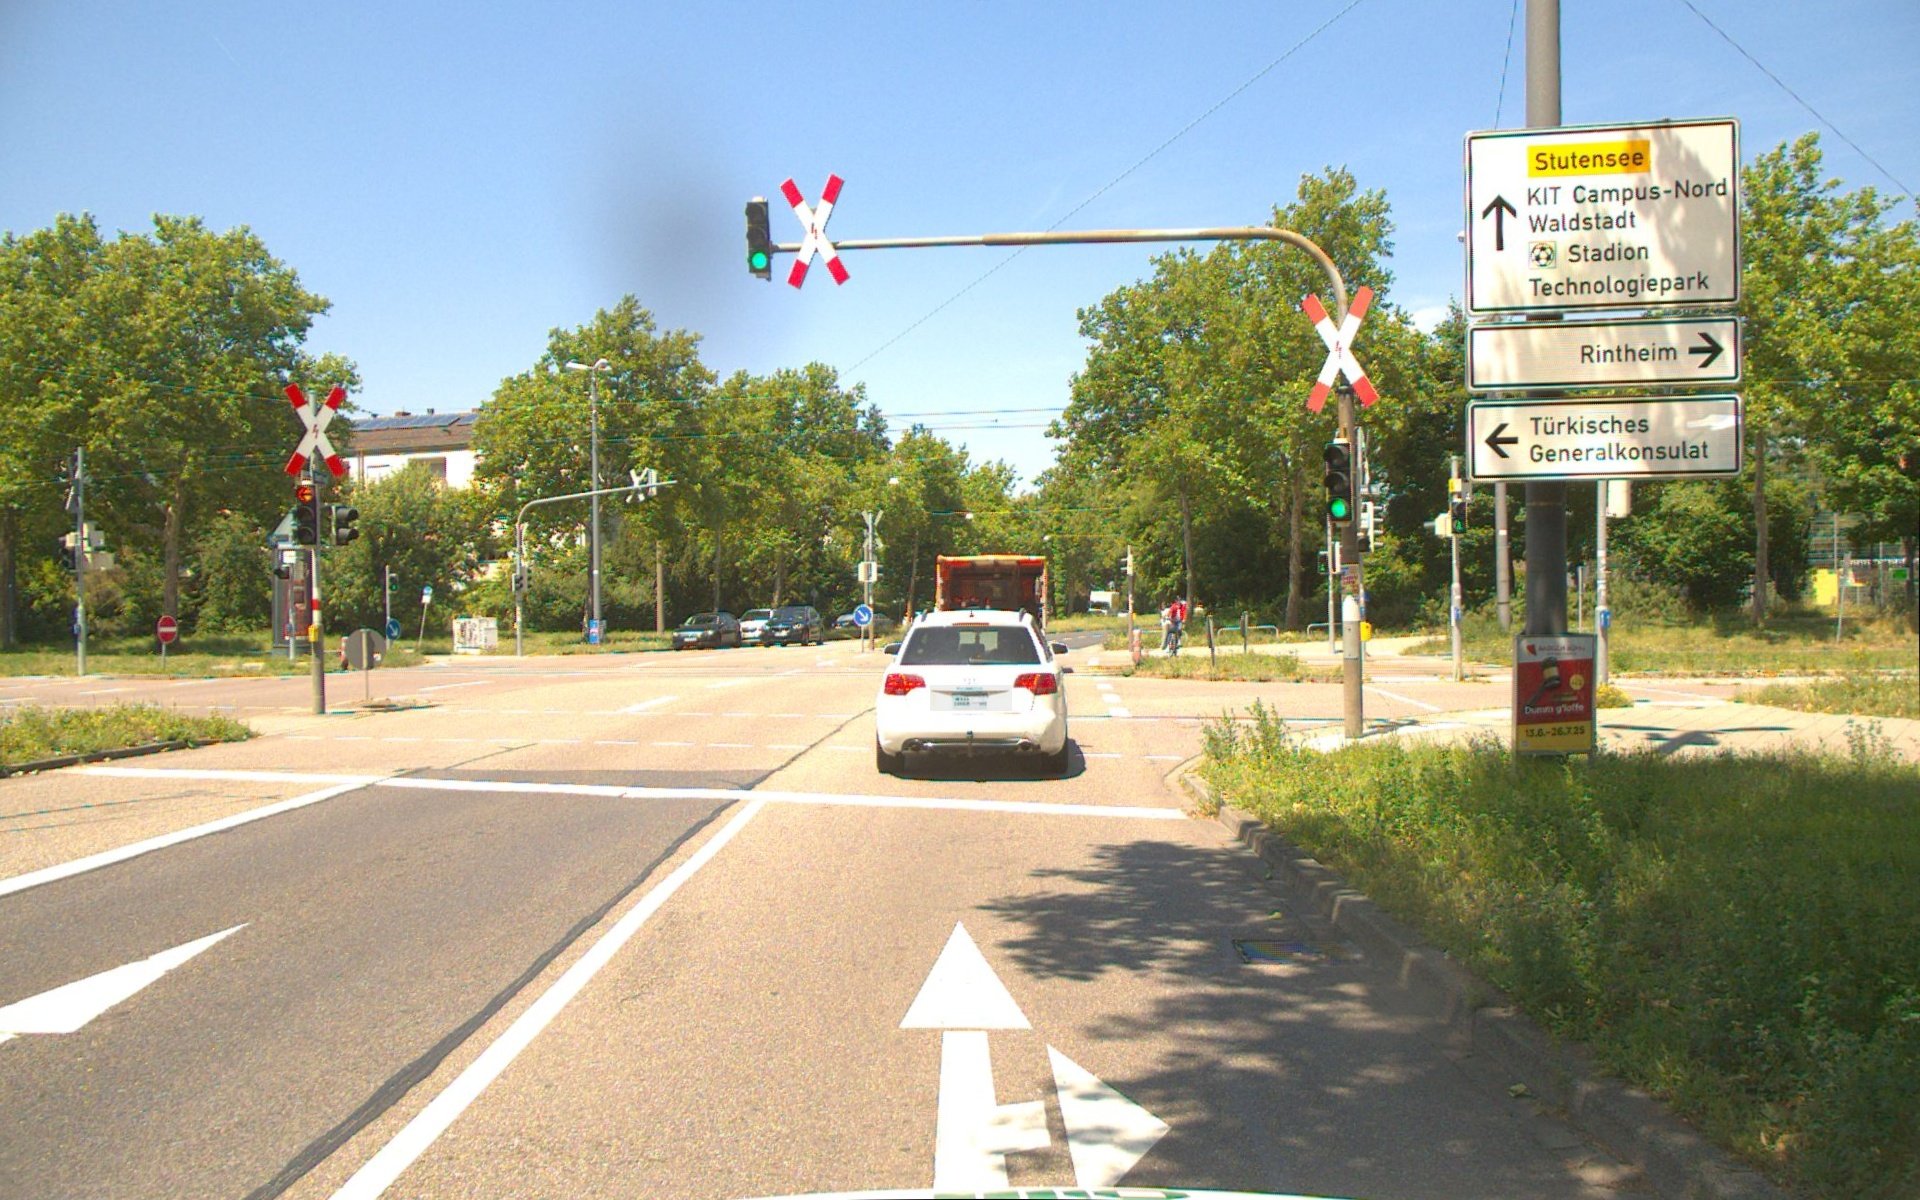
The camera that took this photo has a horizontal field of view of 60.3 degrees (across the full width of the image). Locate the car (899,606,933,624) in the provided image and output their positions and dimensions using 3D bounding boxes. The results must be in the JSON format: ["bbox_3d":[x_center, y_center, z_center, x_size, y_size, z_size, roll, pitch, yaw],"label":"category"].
[{"bbox_3d":[-3.884,1.316,147.470,1.842,1.500,4.002,-1,0,17],"label":"car"}]

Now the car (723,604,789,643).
[{"bbox_3d":[-9.100,1.033,74.053,1.749,1.643,4.408,-1,0,9],"label":"car"}]

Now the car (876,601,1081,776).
[{"bbox_3d":[0.202,0.745,15.789,1.726,1.470,3.616,0,0,1],"label":"car"}]

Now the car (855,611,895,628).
[{"bbox_3d":[-7.064,1.611,137.839,1.843,1.400,4.000,-1,0,21],"label":"car"}]

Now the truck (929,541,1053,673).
[{"bbox_3d":[0.640,0.160,36.854,2.459,2.604,7.603,1,0,0],"label":"truck"}]

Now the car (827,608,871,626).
[{"bbox_3d":[-8.893,1.372,132.567,1.844,1.417,3.998,-1,0,24],"label":"car"}]

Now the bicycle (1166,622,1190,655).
[{"bbox_3d":[6.292,1.103,47.870,0.574,0.911,1.812,-1,0,4],"label":"bicycle"}]

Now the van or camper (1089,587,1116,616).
[{"bbox_3d":[16.924,0.142,196.250,2.604,3.389,5.505,-1,0,12],"label":"van or camper"}]

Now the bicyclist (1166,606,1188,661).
[{"bbox_3d":[6.290,0.969,47.955,0.565,1.583,0.674,-1,0,5],"label":"bicyclist"}]

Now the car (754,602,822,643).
[{"bbox_3d":[-6.936,0.900,67.116,1.868,1.566,4.301,-1,0,6],"label":"car"}]

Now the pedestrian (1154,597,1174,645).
[{"bbox_3d":[6.442,0.661,52.306,0.541,1.510,0.630,-1,0,14],"label":"pedestrian"}]

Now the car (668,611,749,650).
[{"bbox_3d":[-10.125,1.202,66.971,1.907,1.465,4.750,-1,0,8],"label":"car"}]
